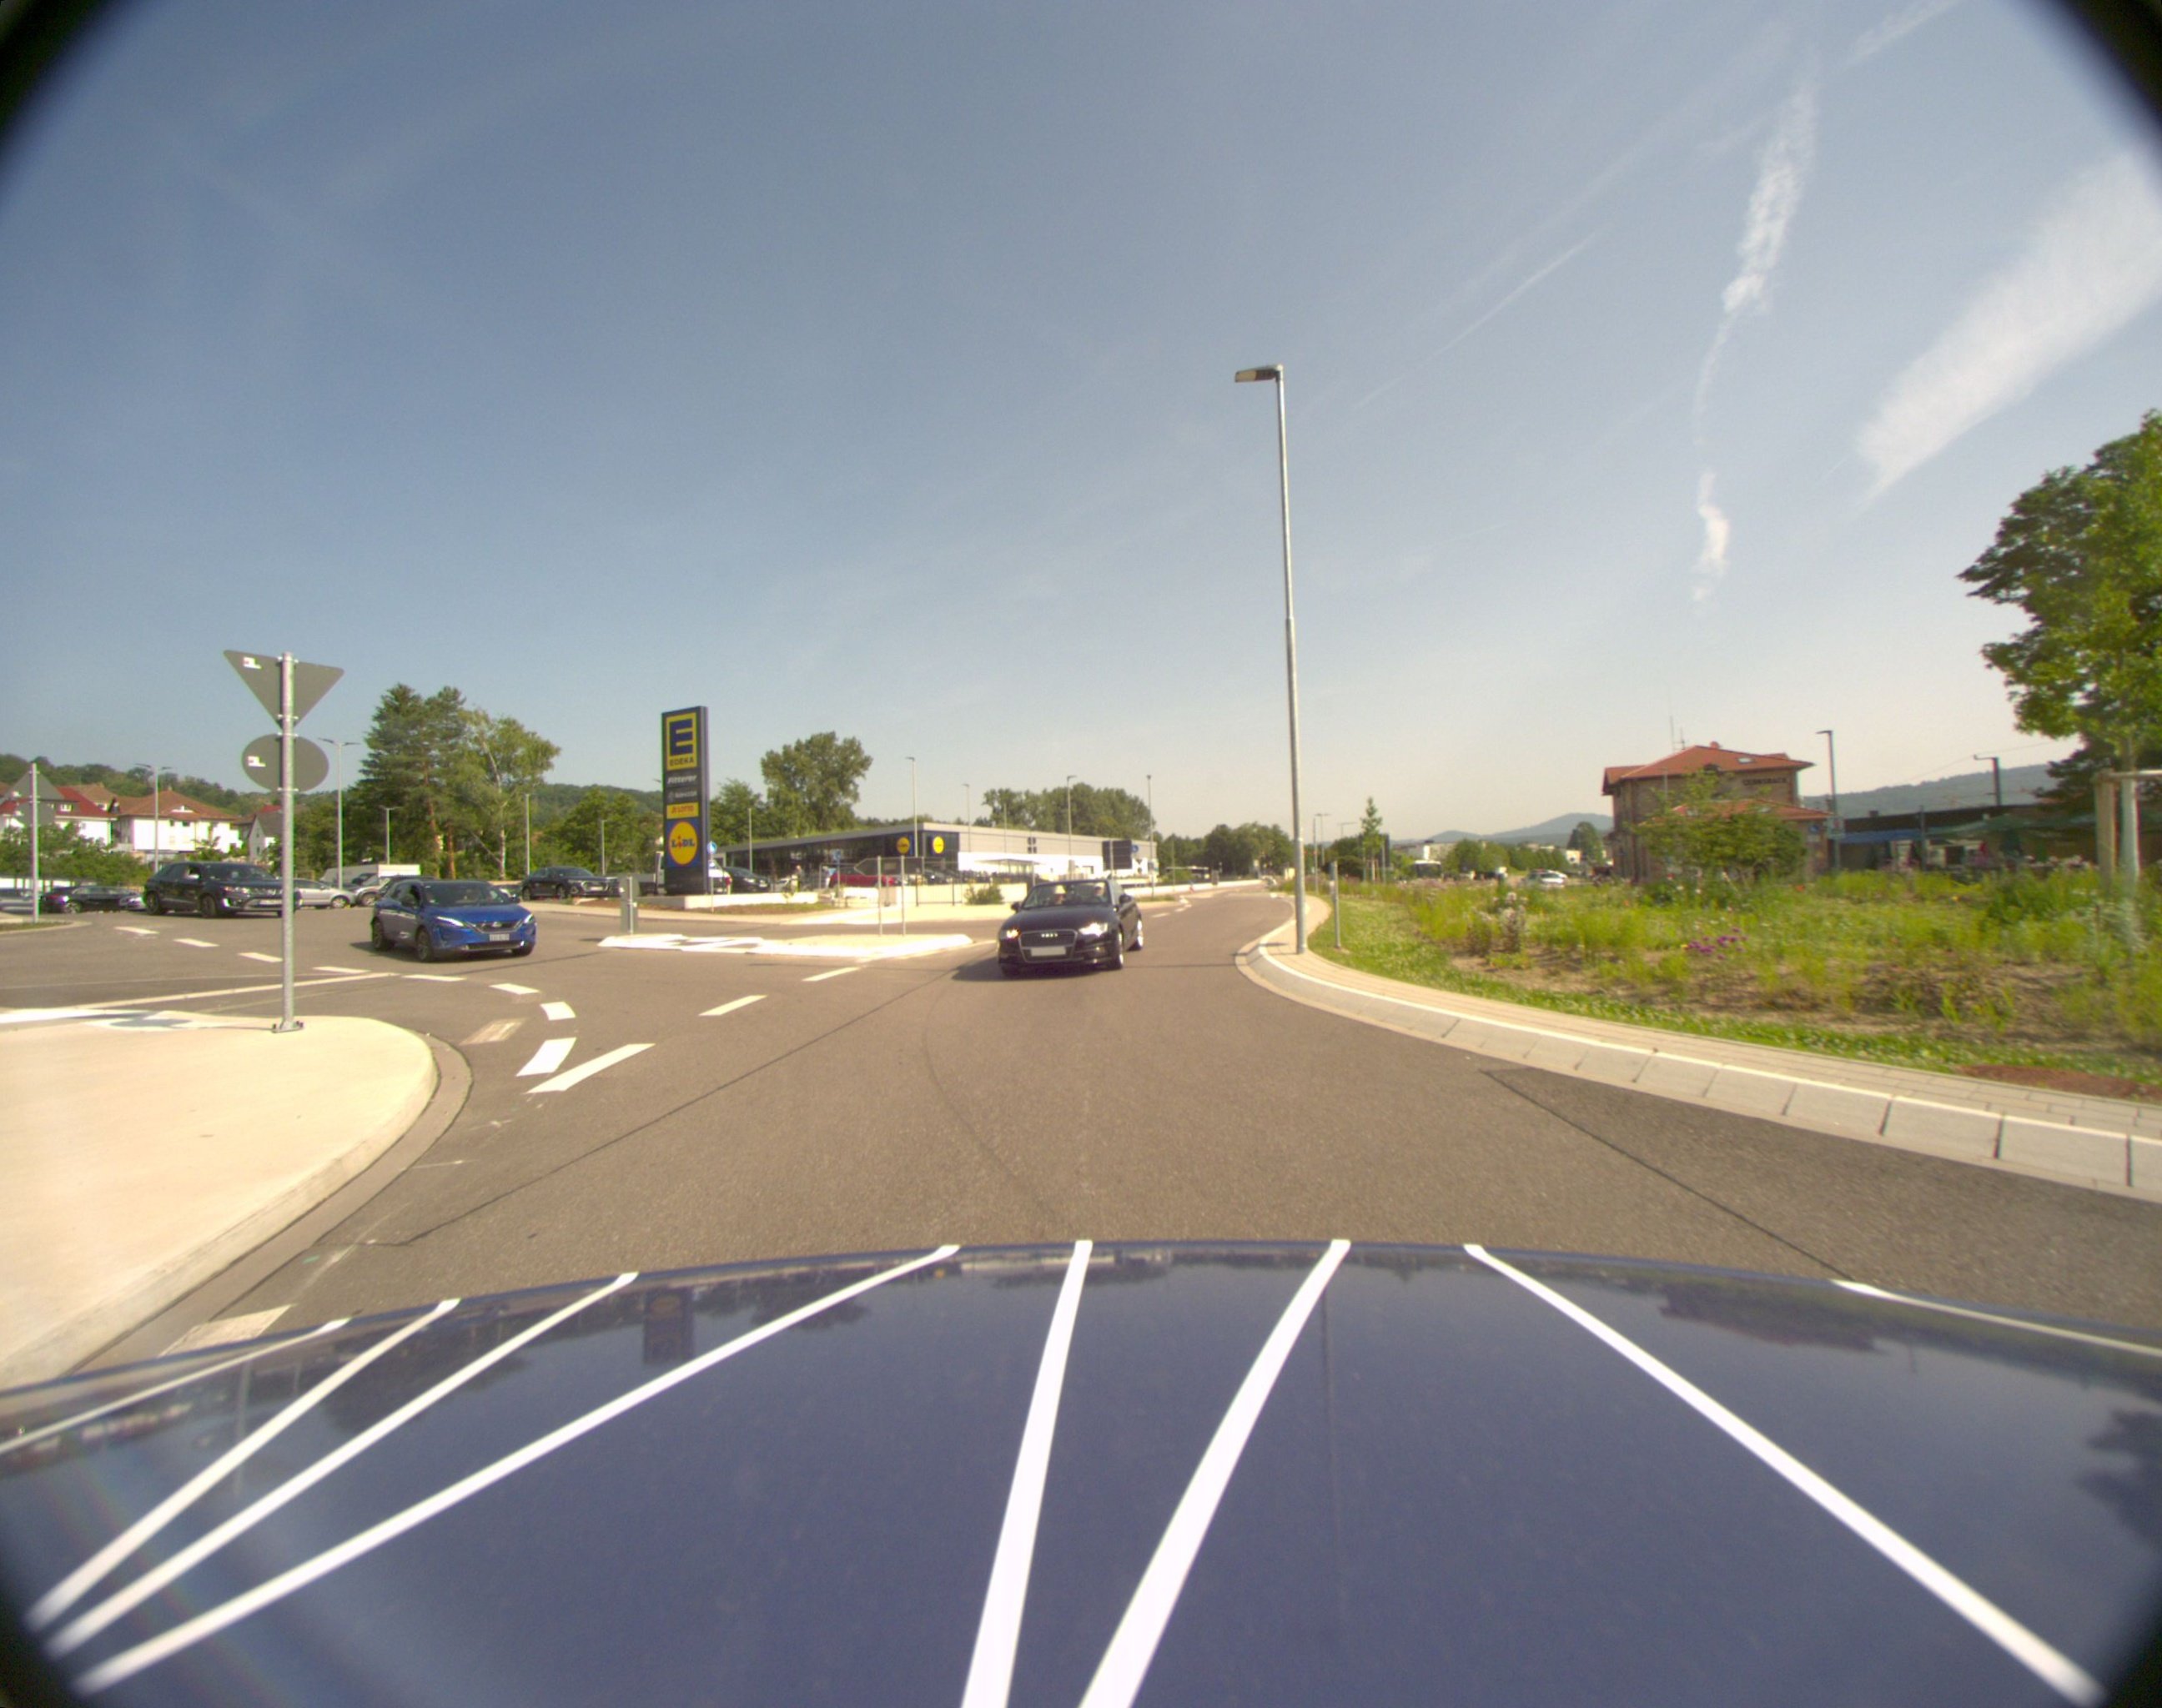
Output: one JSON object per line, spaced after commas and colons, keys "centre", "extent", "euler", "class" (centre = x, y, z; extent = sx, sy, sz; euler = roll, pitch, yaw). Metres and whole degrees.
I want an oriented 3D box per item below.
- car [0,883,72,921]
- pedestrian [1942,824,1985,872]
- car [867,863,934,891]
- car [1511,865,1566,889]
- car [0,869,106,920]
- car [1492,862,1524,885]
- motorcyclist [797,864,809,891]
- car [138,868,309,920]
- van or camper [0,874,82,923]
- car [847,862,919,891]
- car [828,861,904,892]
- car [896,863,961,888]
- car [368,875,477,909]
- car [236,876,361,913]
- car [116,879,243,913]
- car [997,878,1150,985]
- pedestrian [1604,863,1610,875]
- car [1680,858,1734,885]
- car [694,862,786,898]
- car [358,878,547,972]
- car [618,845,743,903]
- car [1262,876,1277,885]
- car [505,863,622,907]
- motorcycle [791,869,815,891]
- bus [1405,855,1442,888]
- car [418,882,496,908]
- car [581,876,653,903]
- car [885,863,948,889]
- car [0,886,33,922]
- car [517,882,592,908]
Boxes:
{"centre": [-59.318, 2.672, 41.505], "extent": [1.996, 1.963, 4.655], "euler": [-5, -3, 21], "class": "car"}
{"centre": [38.166, -0.244, 32.864], "extent": [0.858, 2.001, 0.709], "euler": [-4, -2, -5], "class": "pedestrian"}
{"centre": [-12.264, 1.556, 51.700], "extent": [3.996, 1.564, 1.705], "euler": [-4, -2, 4], "class": "car"}
{"centre": [30.449, 1.516, 50.695], "extent": [1.673, 1.522, 4.003], "euler": [-1, -1, 9], "class": "car"}
{"centre": [-56.412, 2.154, 40.747], "extent": [1.996, 2.600, 4.655], "euler": [-5, -2, 21], "class": "car"}
{"centre": [42.068, 1.894, 74.789], "extent": [1.974, 1.952, 5.168], "euler": [-6, -3, 37], "class": "car"}
{"centre": [-16.050, 1.358, 43.908], "extent": [0.515, 1.533, 0.582], "euler": [-3, -2, -17], "class": "motorcyclist"}
{"centre": [-24.716, 1.117, 21.919], "extent": [4.221, 1.384, 1.646], "euler": [0, -1, 17], "class": "car"}
{"centre": [-66.018, 2.761, 46.601], "extent": [2.290, 2.829, 5.295], "euler": [-5, -2, 21], "class": "van or camper"}
{"centre": [-12.646, 1.449, 48.597], "extent": [4.017, 1.564, 1.781], "euler": [-4, -2, 6], "class": "car"}
{"centre": [-13.091, 1.385, 46.395], "extent": [4.017, 1.564, 1.781], "euler": [-4, -2, 6], "class": "car"}
{"centre": [-11.411, 1.649, 57.060], "extent": [4.411, 1.564, 1.705], "euler": [-4, -2, 4], "class": "car"}
{"centre": [-33.875, 1.931, 39.198], "extent": [1.760, 1.564, 3.793], "euler": [-5, -3, 21], "class": "car"}
{"centre": [-35.549, 1.807, 34.636], "extent": [1.522, 1.436, 3.638], "euler": [-5, -3, 22], "class": "car"}
{"centre": [-43.718, 2.000, 36.947], "extent": [1.522, 1.436, 3.638], "euler": [-5, -3, 22], "class": "car"}
{"centre": [0.069, 1.166, 12.785], "extent": [1.720, 1.314, 4.228], "euler": [-4, -1, 11], "class": "car"}
{"centre": [50.667, 1.464, 73.228], "extent": [0.371, 1.155, 0.507], "euler": [-5, -2, 29], "class": "pedestrian"}
{"centre": [41.170, 1.107, 50.048], "extent": [1.676, 1.559, 3.657], "euler": [-5, -1, 23], "class": "car"}
{"centre": [-18.065, 1.379, 40.216], "extent": [4.467, 1.592, 1.836], "euler": [-5, -2, 24], "class": "car"}
{"centre": [-13.549, 1.400, 16.328], "extent": [4.341, 1.653, 1.891], "euler": [0, 1, 33], "class": "car"}
{"centre": [-19.906, 1.011, 37.736], "extent": [6.079, 2.368, 2.064], "euler": [-5, -2, 24], "class": "car"}
{"centre": [30.776, 4.299, 124.124], "extent": [1.778, 1.389, 4.007], "euler": [-5, -3, 20], "class": "car"}
{"centre": [-22.141, 1.322, 32.497], "extent": [4.850, 1.520, 1.926], "euler": [-5, -3, 26], "class": "car"}
{"centre": [-15.888, 1.495, 43.369], "extent": [0.592, 1.183, 1.899], "euler": [-1, -3, -42], "class": "motorcycle"}
{"centre": [38.369, 1.918, 85.357], "extent": [2.583, 3.308, 10.606], "euler": [-5, -3, 19], "class": "bus"}
{"centre": [-43.901, 2.858, 53.550], "extent": [1.760, 1.564, 3.793], "euler": [-5, -3, 21], "class": "car"}
{"centre": [-30.545, 2.297, 50.148], "extent": [1.663, 1.564, 3.793], "euler": [-5, -3, 21], "class": "car"}
{"centre": [-11.785, 1.563, 54.472], "extent": [3.996, 1.564, 1.705], "euler": [-4, -2, 4], "class": "car"}
{"centre": [-63.244, 2.930, 42.738], "extent": [1.996, 1.963, 4.655], "euler": [-5, -3, 21], "class": "car"}
{"centre": [-35.851, 2.773, 51.816], "extent": [1.760, 1.564, 3.793], "euler": [-5, -3, 21], "class": "car"}
